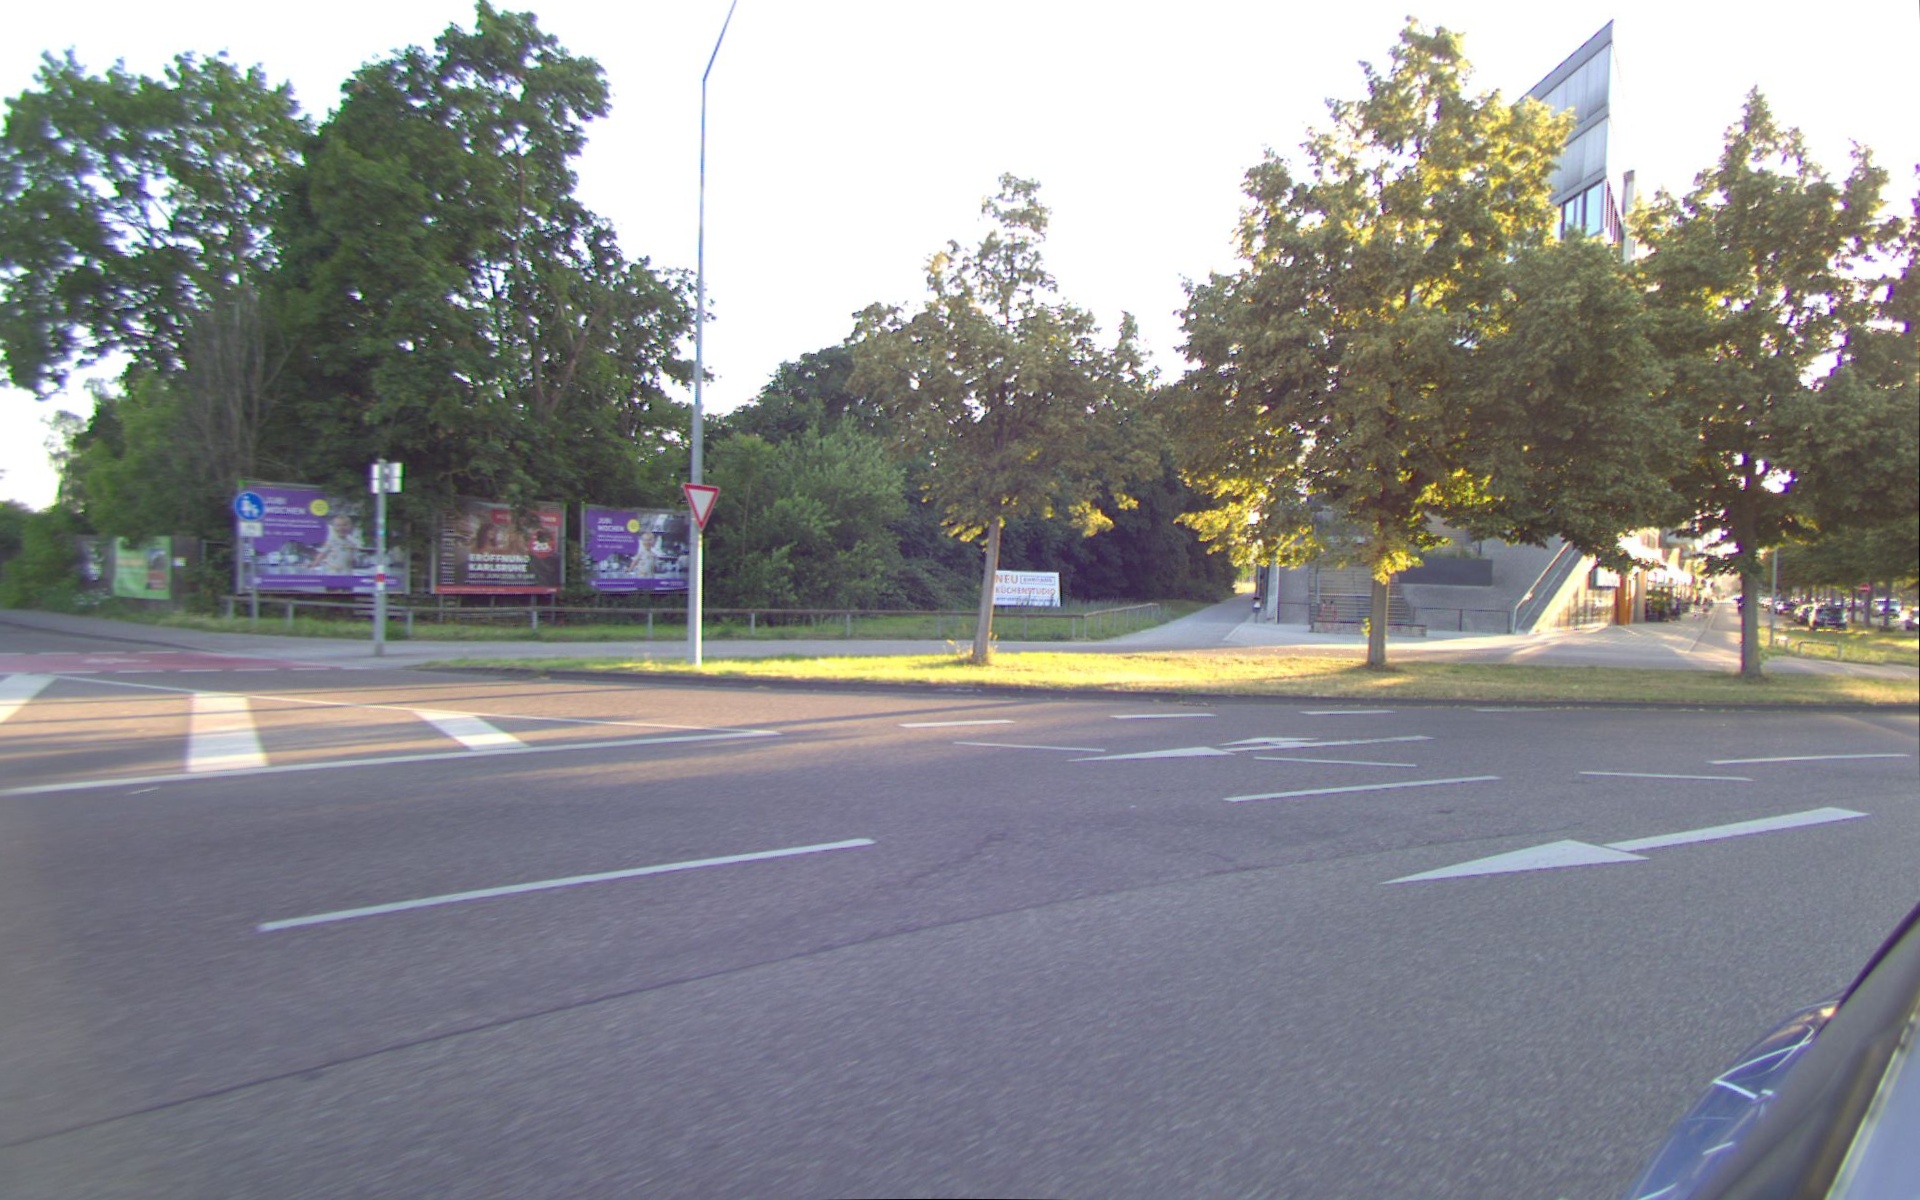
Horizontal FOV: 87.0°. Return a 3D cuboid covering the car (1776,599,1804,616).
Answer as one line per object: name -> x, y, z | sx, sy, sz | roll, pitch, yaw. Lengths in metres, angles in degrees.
car -> 76.221, 0.703, 92.967 | 1.794, 1.482, 3.946 | 2, 1, 37

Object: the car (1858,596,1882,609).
car -> 122.232, 0.350, 135.966 | 1.882, 1.643, 3.950 | 2, 1, 35

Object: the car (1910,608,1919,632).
car -> 67.476, 1.411, 70.145 | 1.883, 1.499, 3.996 | 2, 2, 37

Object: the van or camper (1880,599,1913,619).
van or camper -> 99.445, 0.898, 107.489 | 1.989, 1.982, 5.258 | 2, 2, 37

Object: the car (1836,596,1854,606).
car -> 135.608, 0.134, 155.081 | 1.794, 1.482, 3.946 | 2, 1, 37

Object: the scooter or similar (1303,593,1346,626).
scooter or similar -> 14.136, 0.362, 39.241 | 0.360, 1.235, 1.574 | 1, 1, -41

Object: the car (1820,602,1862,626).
car -> 58.110, 0.881, 66.810 | 1.794, 1.482, 3.946 | 2, 1, 37

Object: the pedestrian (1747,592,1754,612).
pedestrian -> 81.120, 0.204, 103.817 | 0.536, 2.039, 0.520 | 2, 1, 37

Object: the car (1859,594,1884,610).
car -> 113.789, 0.266, 126.342 | 1.708, 1.860, 3.951 | 2, 1, 34

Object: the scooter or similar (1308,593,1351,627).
scooter or similar -> 14.438, 0.382, 39.529 | 0.360, 1.235, 1.574 | 1, 1, -41

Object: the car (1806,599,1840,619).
car -> 67.152, 0.661, 78.792 | 1.794, 1.482, 3.946 | 2, 1, 37

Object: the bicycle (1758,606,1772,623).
bicycle -> 43.665, 0.780, 54.868 | 0.548, 0.862, 2.607 | 2, 1, 39
